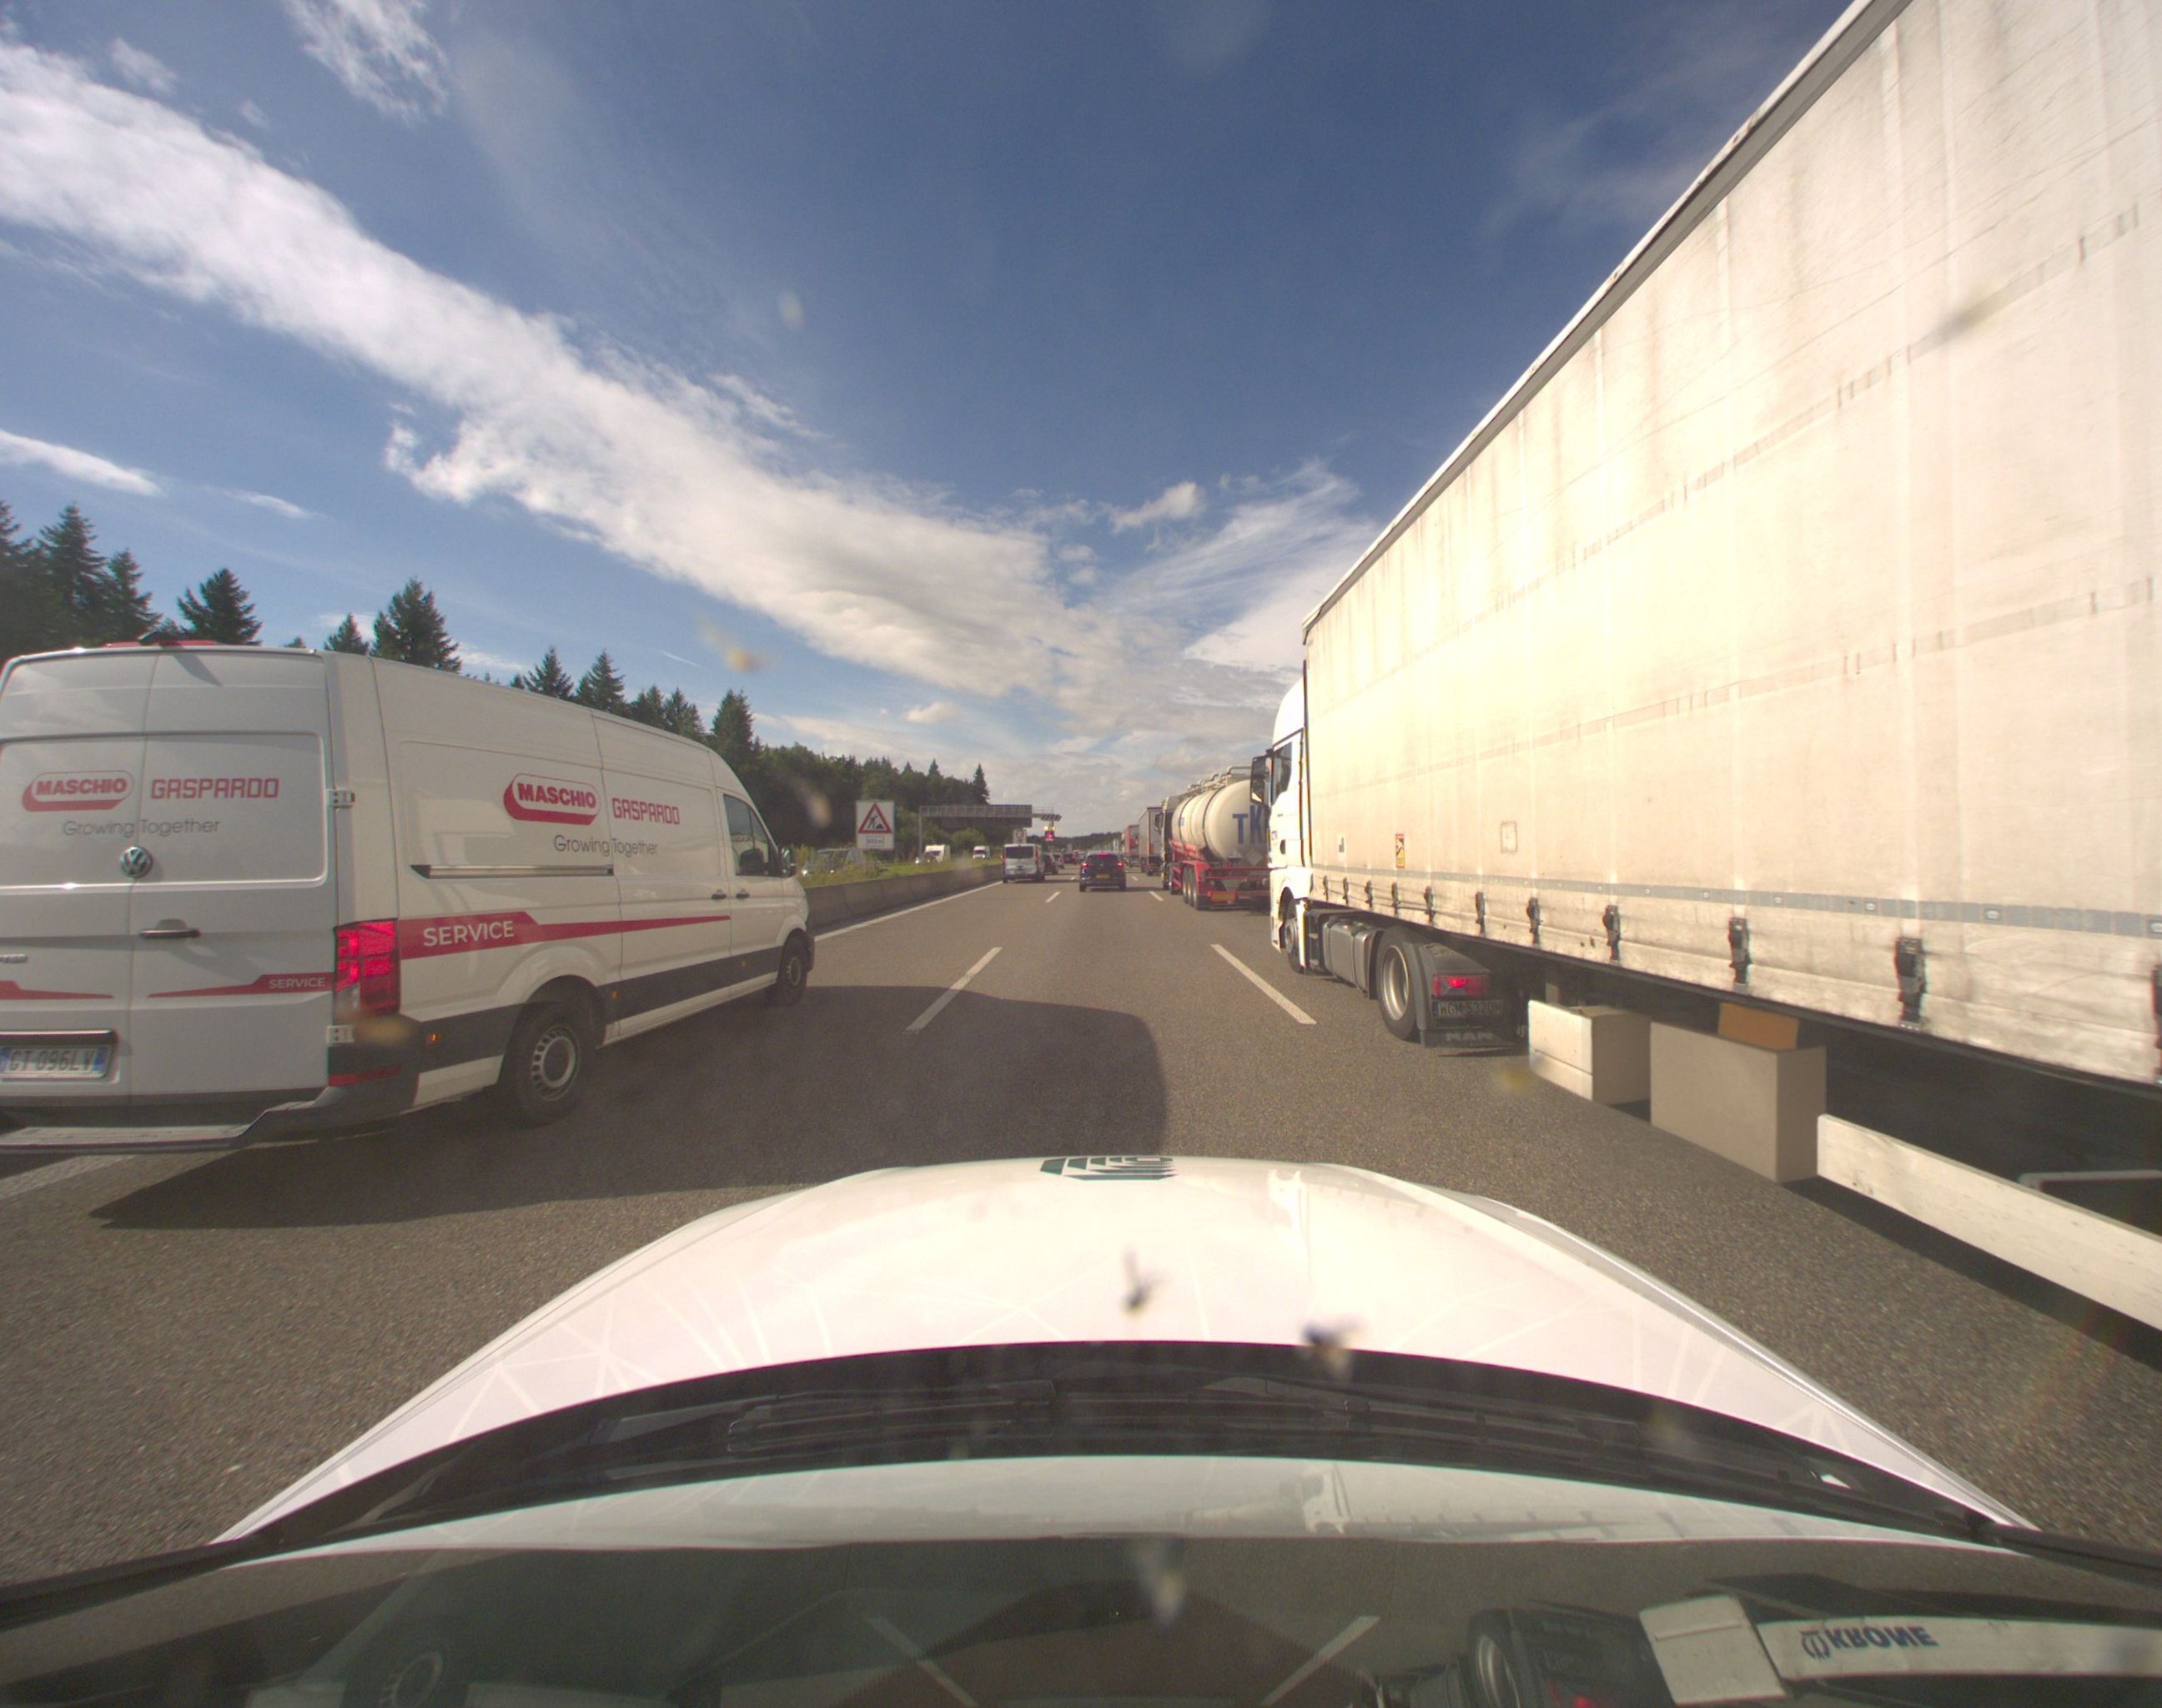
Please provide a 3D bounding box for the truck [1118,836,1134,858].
[{"bbox_3d":[6.111,-0.922,110.331,1.986,2.932,4.984,2,0,2],"label":"truck"}]

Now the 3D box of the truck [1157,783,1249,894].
[{"bbox_3d":[4.298,-0.492,30.051,2.524,3.584,6.731,-1,0,2],"label":"truck"}]

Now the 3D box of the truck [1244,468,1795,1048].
[{"bbox_3d":[3.739,-0.672,8.960,2.698,4.059,6.364,-1,0,2],"label":"truck"}]

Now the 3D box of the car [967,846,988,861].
[{"bbox_3d":[-16.396,-0.100,129.547,2.308,2.193,6.864,2,0,1],"label":"car"}]

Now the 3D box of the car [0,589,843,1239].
[{"bbox_3d":[-3.951,0.229,6.387,2.007,2.599,6.187,-1,1,3],"label":"car"}]

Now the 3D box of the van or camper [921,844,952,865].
[{"bbox_3d":[-16.840,0.052,95.197,2.450,2.414,5.853,-1,0,1],"label":"van or camper"}]

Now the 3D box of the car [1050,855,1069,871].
[{"bbox_3d":[-1.962,0.806,75.467,1.494,1.396,3.477,2,0,1],"label":"car"}]

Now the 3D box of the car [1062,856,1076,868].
[{"bbox_3d":[-1.452,0.953,98.939,1.429,1.310,3.534,2,0,1],"label":"car"}]

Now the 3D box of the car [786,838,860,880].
[{"bbox_3d":[-10.729,0.217,34.167,1.663,1.582,4.001,2,0,1],"label":"car"}]

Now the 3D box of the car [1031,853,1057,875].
[{"bbox_3d":[-2.507,0.649,55.460,1.494,1.396,3.477,1,0,1],"label":"car"}]

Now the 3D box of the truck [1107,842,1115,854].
[{"bbox_3d":[8.286,-1.615,226.174,1.986,3.052,4.984,2,0,2],"label":"truck"}]

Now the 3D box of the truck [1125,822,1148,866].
[{"bbox_3d":[5.669,-1.003,83.512,2.125,4.282,6.341,0,0,2],"label":"truck"}]

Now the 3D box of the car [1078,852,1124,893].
[{"bbox_3d":[0.803,0.669,32.315,1.690,1.483,4.161,0,0,1],"label":"car"}]

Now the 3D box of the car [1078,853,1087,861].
[{"bbox_3d":[0.325,0.559,136.036,1.356,1.301,3.085,2,0,1],"label":"car"}]

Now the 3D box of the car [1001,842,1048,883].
[{"bbox_3d":[-2.881,0.432,42.656,1.926,1.979,5.100,2,0,1],"label":"car"}]

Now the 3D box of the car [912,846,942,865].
[{"bbox_3d":[-16.913,0.151,89.725,2.232,2.057,5.083,-1,0,1],"label":"car"}]

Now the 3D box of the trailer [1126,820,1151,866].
[{"bbox_3d":[5.511,-0.987,79.244,2.141,4.259,8.444,-1,0,2],"label":"trailer"}]

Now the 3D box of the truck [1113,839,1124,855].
[{"bbox_3d":[7.042,-1.303,154.309,1.986,3.052,4.984,2,0,2],"label":"truck"}]

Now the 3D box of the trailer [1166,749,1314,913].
[{"bbox_3d":[4.130,-0.504,23.654,2.531,3.654,10.631,-1,0,2],"label":"trailer"}]

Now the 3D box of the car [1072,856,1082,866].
[{"bbox_3d":[-0.556,1.040,121.059,1.429,1.310,3.534,2,0,1],"label":"car"}]

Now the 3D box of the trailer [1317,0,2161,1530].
[{"bbox_3d":[3.525,-0.677,1.533,2.693,4.081,12.949,-1,0,2],"label":"trailer"}]

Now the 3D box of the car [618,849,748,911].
[{"bbox_3d":[-11.575,0.703,23.988,1.821,1.684,3.811,-1,0,2],"label":"car"}]

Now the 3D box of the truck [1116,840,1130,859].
[{"bbox_3d":[6.637,-0.687,128.703,1.986,2.932,4.984,2,0,2],"label":"truck"}]

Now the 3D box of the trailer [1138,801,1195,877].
[{"bbox_3d":[5.246,-0.850,51.737,2.791,4.244,11.062,-1,0,2],"label":"trailer"}]

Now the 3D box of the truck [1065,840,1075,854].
[{"bbox_3d":[-2.868,-1.764,215.317,2.335,3.594,6.307,2,0,2],"label":"truck"}]

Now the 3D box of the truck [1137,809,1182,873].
[{"bbox_3d":[5.503,-0.869,58.080,2.775,4.247,6.463,-1,0,2],"label":"truck"}]

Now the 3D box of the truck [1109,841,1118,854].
[{"bbox_3d":[7.999,-1.468,199.122,1.986,3.052,4.984,2,0,2],"label":"truck"}]
